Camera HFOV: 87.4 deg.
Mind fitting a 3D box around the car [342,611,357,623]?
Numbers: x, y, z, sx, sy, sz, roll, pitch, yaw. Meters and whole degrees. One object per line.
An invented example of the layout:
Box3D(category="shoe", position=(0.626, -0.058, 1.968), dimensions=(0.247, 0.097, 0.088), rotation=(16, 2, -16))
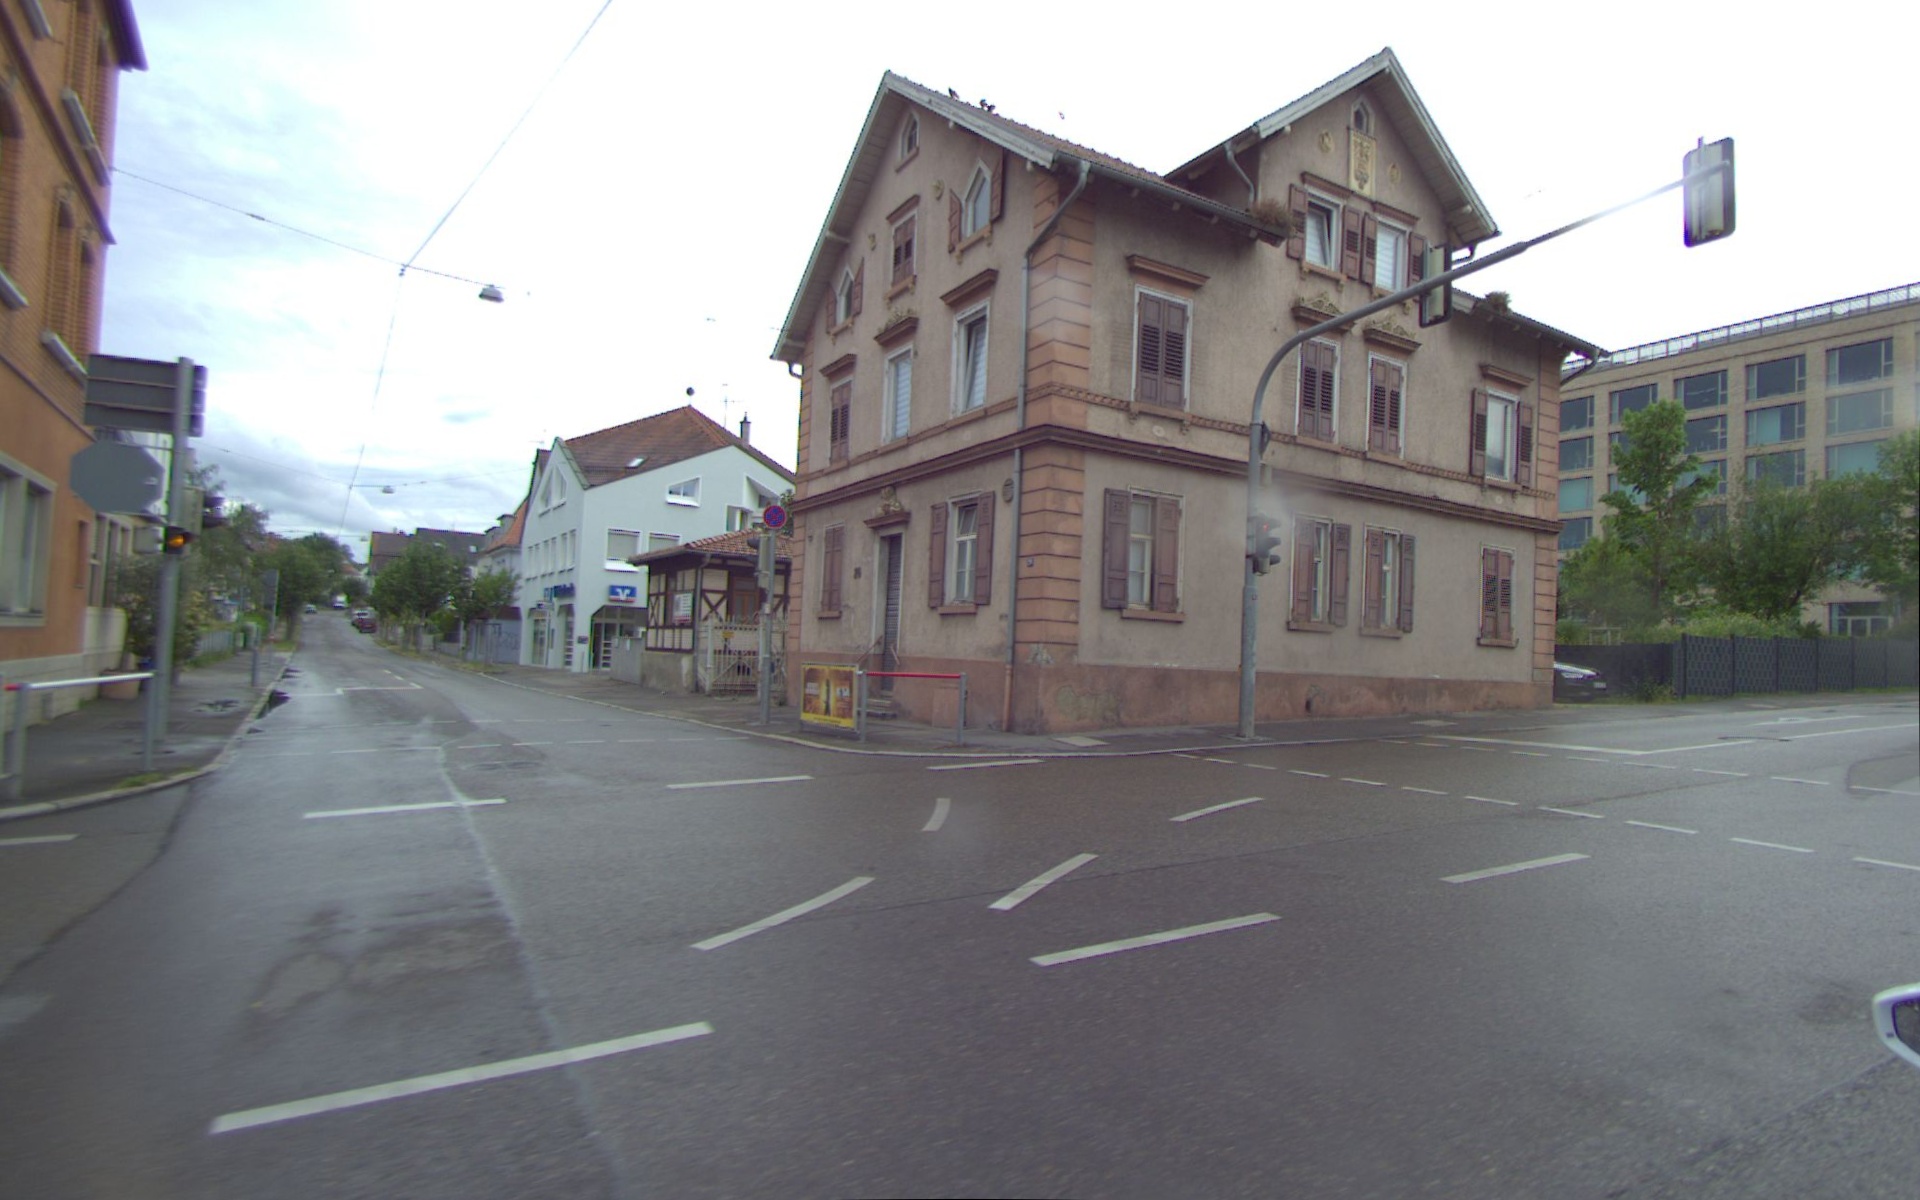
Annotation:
Box3D(category="car", position=(-105.207, 2.884, 173.021), dimensions=(1.979, 2.040, 3.963), rotation=(2, -1, -33))

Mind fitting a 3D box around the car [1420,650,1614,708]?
Box3D(category="car", position=(13.739, 1.906, 24.988), dimensions=(1.590, 1.178, 3.962), rotation=(2, -1, -34))

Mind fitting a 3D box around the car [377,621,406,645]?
Box3D(category="car", position=(-51.606, 2.993, 91.154), dimensions=(1.979, 2.040, 3.964), rotation=(2, -1, -33))

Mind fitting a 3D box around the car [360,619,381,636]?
Box3D(category="car", position=(-72.399, 3.373, 123.351), dimensions=(1.979, 2.040, 3.963), rotation=(2, -1, -33))

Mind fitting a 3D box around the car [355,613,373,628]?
Box3D(category="car", position=(-83.986, 2.850, 141.460), dimensions=(1.979, 2.040, 3.963), rotation=(2, -1, -33))
